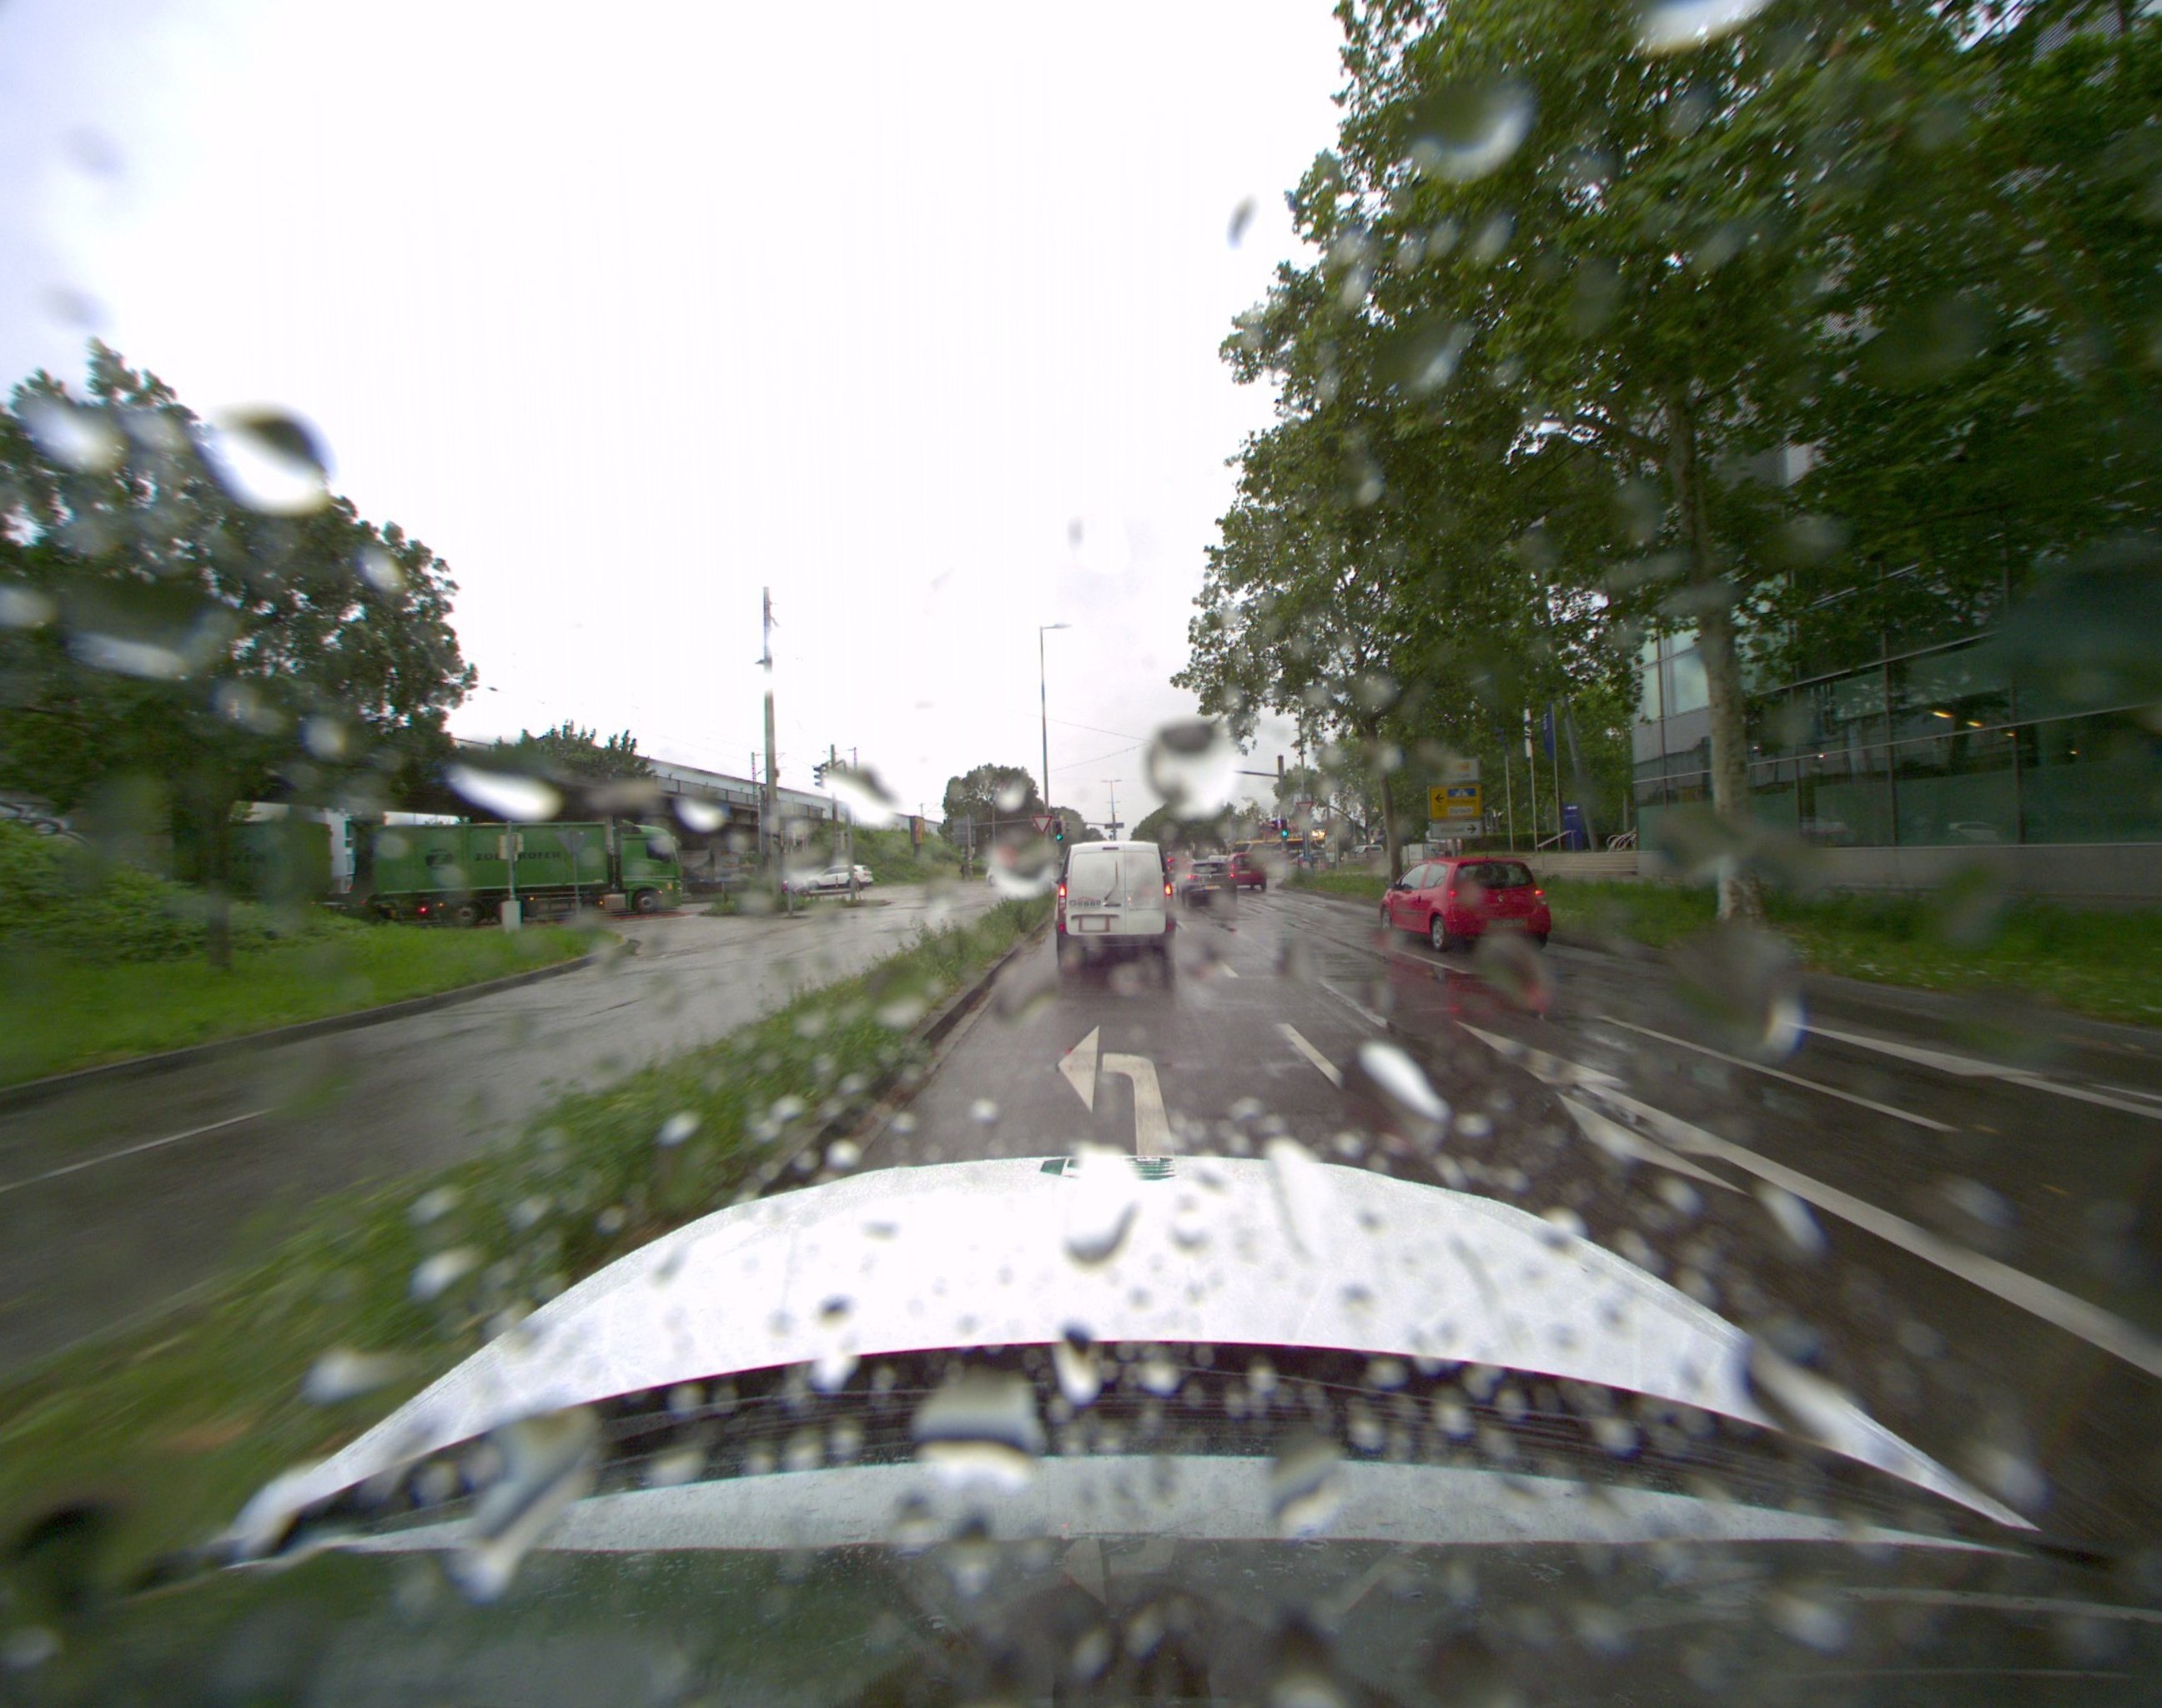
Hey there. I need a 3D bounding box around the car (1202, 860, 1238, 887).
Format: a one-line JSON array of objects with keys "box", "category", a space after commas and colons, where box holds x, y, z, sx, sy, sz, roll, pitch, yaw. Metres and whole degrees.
[{"box": [8.894, 1.242, 52.365, 1.835, 1.618, 4.003, -1, -1, 3], "category": "car"}]

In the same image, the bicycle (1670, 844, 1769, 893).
[{"box": [15.702, 0.343, 20.109, 0.740, 1.104, 2.076, -4, -1, 0], "category": "bicycle"}]

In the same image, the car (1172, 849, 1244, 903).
[{"box": [4.082, 0.690, 26.712, 1.835, 1.618, 4.002, -1, -1, 2], "category": "car"}]

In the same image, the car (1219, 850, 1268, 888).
[{"box": [7.292, 0.650, 36.803, 1.626, 1.656, 3.486, -1, 0, 2], "category": "car"}]

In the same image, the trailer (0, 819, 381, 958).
[{"box": [-29.035, 0.952, 26.939, 8.555, 3.987, 2.660, -2, -1, -35], "category": "trailer"}]

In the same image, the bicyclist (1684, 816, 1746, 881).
[{"box": [15.666, -0.127, 20.144, 0.802, 1.515, 0.752, -5, -1, -1], "category": "bicyclist"}]

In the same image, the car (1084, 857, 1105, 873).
[{"box": [1.657, 1.295, 95.840, 2.160, 1.720, 4.307, -3, 0, 4], "category": "car"}]

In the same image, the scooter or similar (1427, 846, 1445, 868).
[{"box": [19.363, 0.171, 44.410, 1.181, 1.138, 0.337, -3, 0, -38], "category": "scooter or similar"}]

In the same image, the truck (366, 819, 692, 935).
[{"box": [-21.291, 0.698, 32.268, 10.237, 3.949, 2.659, -2, -1, -35], "category": "truck"}]

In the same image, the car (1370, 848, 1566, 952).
[{"box": [6.310, 0.688, 13.758, 1.672, 1.491, 3.623, -1, 0, 2], "category": "car"}]

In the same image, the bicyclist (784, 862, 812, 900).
[{"box": [-12.370, 1.171, 35.597, 1.049, 1.593, 0.798, 0, -1, -26], "category": "bicyclist"}]

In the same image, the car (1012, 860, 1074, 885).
[{"box": [-2.707, 1.313, 58.108, 3.893, 1.619, 2.013, -3, -1, 35], "category": "car"}]

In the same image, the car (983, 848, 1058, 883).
[{"box": [-3.794, 0.745, 50.306, 2.012, 1.956, 4.761, -3, 0, -43], "category": "car"}]

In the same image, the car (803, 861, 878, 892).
[{"box": [-16.291, 1.534, 55.269, 4.410, 1.846, 2.001, -3, 0, 1], "category": "car"}]

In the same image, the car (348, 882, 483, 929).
[{"box": [-26.528, 2.013, 32.668, 4.017, 1.574, 1.978, -3, 0, -35], "category": "car"}]

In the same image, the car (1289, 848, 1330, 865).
[{"box": [24.992, 0.251, 88.991, 4.360, 1.651, 1.913, -2, -1, -35], "category": "car"}]

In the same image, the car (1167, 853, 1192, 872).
[{"box": [8.576, 0.736, 71.188, 1.984, 1.574, 4.005, -2, 0, 4], "category": "car"}]

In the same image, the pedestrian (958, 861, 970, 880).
[{"box": [-10.942, 1.567, 76.268, 1.001, 1.719, 0.818, -2, -1, -6], "category": "pedestrian"}]

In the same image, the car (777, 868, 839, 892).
[{"box": [-19.681, 1.835, 58.740, 4.007, 1.503, 1.757, -2, 0, -25], "category": "car"}]

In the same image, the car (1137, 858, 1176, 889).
[{"box": [4.219, 1.060, 46.088, 1.830, 1.656, 3.999, -1, 0, 0], "category": "car"}]

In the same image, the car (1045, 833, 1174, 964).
[{"box": [0.469, 0.626, 13.286, 1.749, 1.777, 4.002, -1, 0, 2], "category": "car"}]

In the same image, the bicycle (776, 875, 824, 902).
[{"box": [-12.310, 1.489, 35.628, 1.916, 1.094, 0.689, -1, -1, -25], "category": "bicycle"}]

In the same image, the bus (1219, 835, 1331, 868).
[{"box": [22.609, -0.289, 95.270, 12.204, 3.268, 3.276, -3, -1, 1], "category": "bus"}]
